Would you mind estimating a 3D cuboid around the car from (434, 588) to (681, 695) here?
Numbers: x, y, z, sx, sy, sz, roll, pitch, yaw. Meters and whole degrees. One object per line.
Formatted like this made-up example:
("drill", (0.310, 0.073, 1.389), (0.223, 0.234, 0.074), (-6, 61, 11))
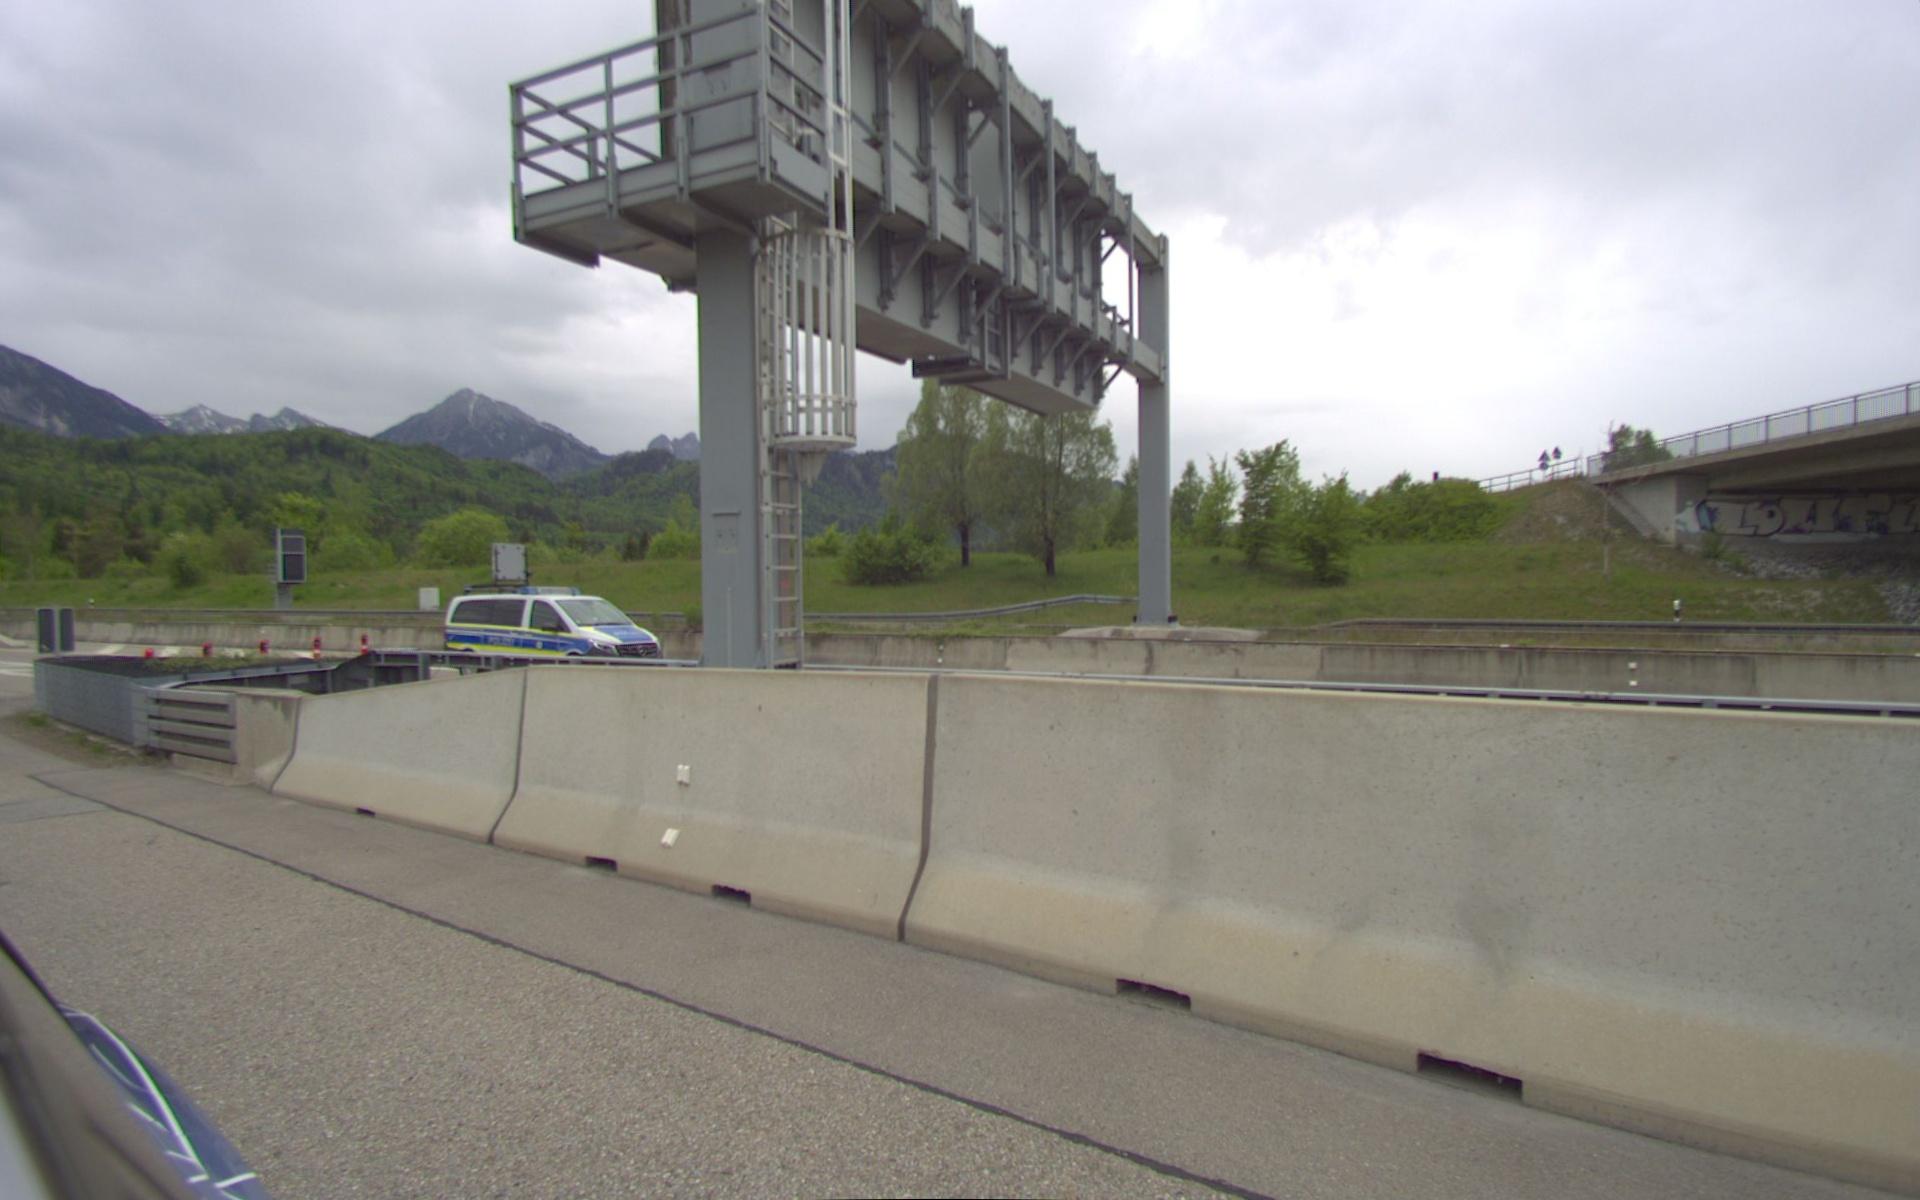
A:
("car", (-8.479, 0.813, 21.266), (5.028, 2.029, 2.085), (0, -1, 28))
